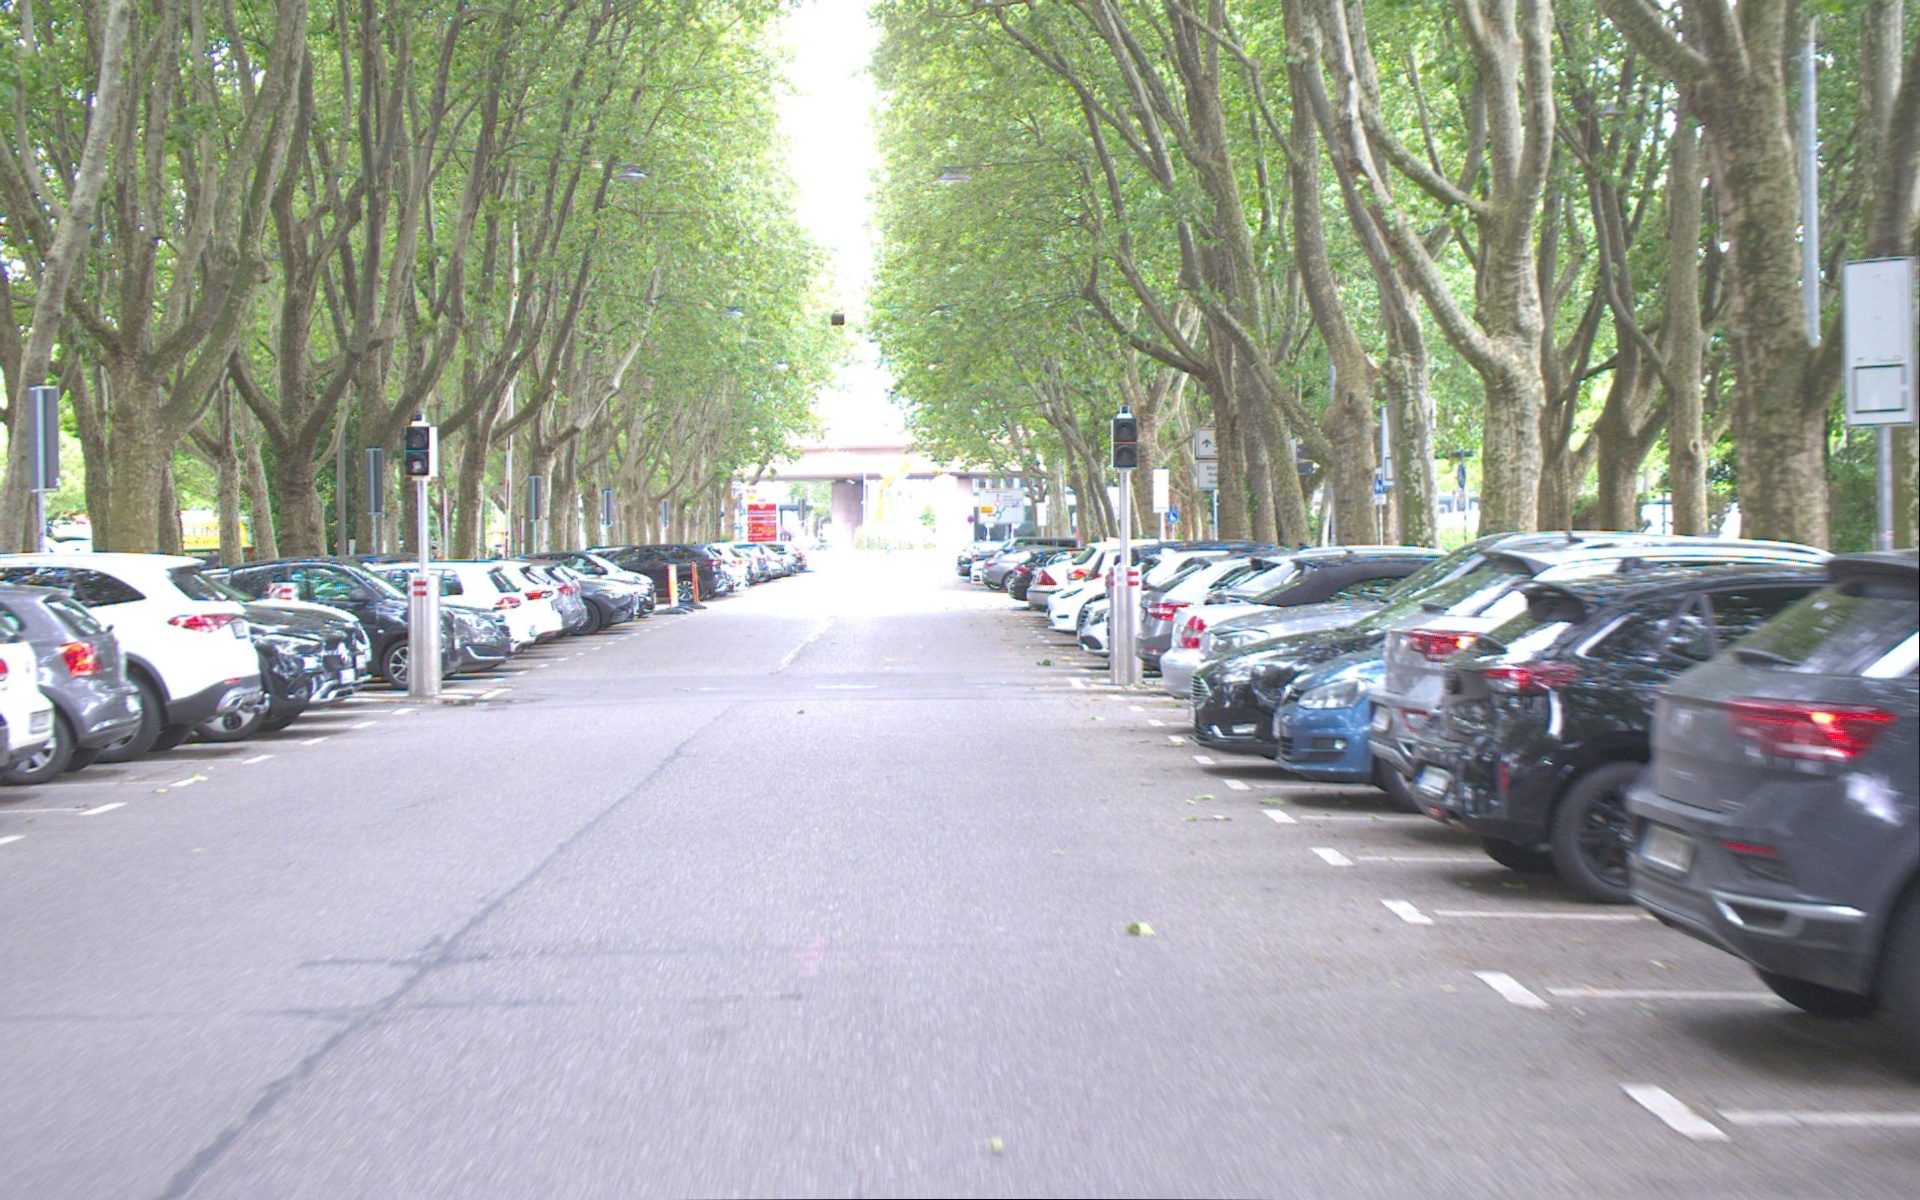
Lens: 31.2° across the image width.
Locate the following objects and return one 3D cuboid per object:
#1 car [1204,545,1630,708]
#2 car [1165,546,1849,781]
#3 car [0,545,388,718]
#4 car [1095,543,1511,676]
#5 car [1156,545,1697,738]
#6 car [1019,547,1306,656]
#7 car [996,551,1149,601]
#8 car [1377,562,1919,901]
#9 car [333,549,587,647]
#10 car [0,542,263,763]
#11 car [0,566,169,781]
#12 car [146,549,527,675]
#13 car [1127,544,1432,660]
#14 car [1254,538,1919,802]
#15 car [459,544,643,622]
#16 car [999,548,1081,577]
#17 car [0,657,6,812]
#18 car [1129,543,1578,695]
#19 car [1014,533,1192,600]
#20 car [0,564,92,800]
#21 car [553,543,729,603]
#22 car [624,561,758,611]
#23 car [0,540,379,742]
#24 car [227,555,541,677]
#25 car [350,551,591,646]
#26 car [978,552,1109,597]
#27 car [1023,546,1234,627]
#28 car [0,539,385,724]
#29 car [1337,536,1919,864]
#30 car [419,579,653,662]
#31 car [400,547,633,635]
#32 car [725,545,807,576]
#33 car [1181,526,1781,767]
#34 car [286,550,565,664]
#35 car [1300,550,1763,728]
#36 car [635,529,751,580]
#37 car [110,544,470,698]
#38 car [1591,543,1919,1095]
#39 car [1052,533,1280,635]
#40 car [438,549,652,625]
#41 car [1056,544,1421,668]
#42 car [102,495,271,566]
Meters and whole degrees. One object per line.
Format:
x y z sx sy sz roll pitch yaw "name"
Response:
4.282 0.232 32.591 3.775 1.465 1.667 1 1 -1 "car"
3.541 0.395 22.717 4.211 1.446 1.611 1 1 -2 "car"
-8.017 0.311 35.217 4.043 1.602 1.694 -2 0 -3 "car"
3.926 0.093 39.863 4.614 1.465 1.650 1 1 -1 "car"
3.714 0.313 27.853 4.113 1.465 1.694 1 1 -1 "car"
3.074 0.016 52.721 4.166 1.591 1.855 1 1 -4 "car"
3.442 -0.741 104.613 4.575 1.481 2.000 0 1 4 "car"
3.893 0.549 15.219 3.826 1.384 1.694 1 1 -2 "car"
-8.015 -0.044 55.364 3.826 1.425 1.802 -2 1 -2 "car"
-7.605 0.419 27.162 3.826 1.622 1.953 -2 1 -3 "car"
-7.823 0.556 24.861 3.826 1.466 1.695 -2 1 -3 "car"
-7.613 0.126 42.299 4.400 1.360 1.695 -2 1 -3 "car"
4.182 0.017 45.359 3.775 1.465 1.624 1 1 -4 "car"
3.751 0.385 20.243 3.826 1.450 1.694 1 1 -2 "car"
-8.886 -0.382 74.929 3.826 1.549 1.695 -2 1 -3 "car"
4.316 -2.020 186.351 4.376 1.517 1.731 0 1 0 "car"
-7.700 0.608 19.746 3.995 1.466 1.537 -2 1 -3 "car"
3.971 0.181 35.157 4.366 1.465 1.624 1 1 -1 "car"
3.210 -0.761 77.647 3.918 1.447 1.556 1 1 -2 "car"
-7.823 0.586 22.548 3.755 1.469 1.865 -2 1 -2 "car"
-8.749 -0.758 94.582 4.664 1.422 2.000 -3 1 -2 "car"
-8.200 -0.435 104.930 3.814 1.349 1.662 -3 1 5 "car"
-7.271 0.354 29.871 4.068 1.602 1.799 -2 1 2 "car"
-7.467 0.192 44.828 3.826 1.425 1.695 -2 1 -3 "car"
-8.172 -0.041 57.658 3.826 1.425 1.695 -2 1 -3 "car"
2.734 -0.840 111.737 4.176 1.437 1.731 0 1 4 "car"
3.062 -0.260 62.964 3.645 1.419 1.986 1 1 -4 "car"
-7.571 0.283 32.959 3.826 1.602 1.834 -2 1 -3 "car"
4.007 0.488 17.929 3.826 1.602 1.694 1 1 -2 "car"
-8.255 0.382 67.172 4.400 1.425 1.695 -2 1 -3 "car"
-7.987 -0.172 62.176 4.020 1.425 1.695 -2 1 -3 "car"
-9.376 -1.909 166.250 3.814 1.510 1.686 0 1 3 "car"
3.748 0.318 25.213 4.113 1.664 1.694 1 1 0 "car"
-7.748 0.083 50.107 3.826 1.492 1.695 -2 1 -3 "car"
4.947 0.322 30.099 3.776 1.465 1.624 1 1 1 "car"
-9.424 -1.609 121.495 3.814 1.597 1.785 -3 1 5 "car"
-7.678 0.223 39.639 3.826 1.602 1.695 -2 1 -3 "car"
4.042 0.596 10.169 3.986 1.481 1.694 1 1 -2 "car"
3.442 -0.276 57.786 3.645 1.661 1.519 1 1 -4 "car"
-8.680 -0.277 72.197 4.332 1.425 1.695 -2 1 -3 "car"
3.415 0.060 42.558 4.296 1.465 1.624 1 1 -4 "car"
-24.737 -2.226 110.061 5.077 2.224 1.536 1 1 -2 "car"
